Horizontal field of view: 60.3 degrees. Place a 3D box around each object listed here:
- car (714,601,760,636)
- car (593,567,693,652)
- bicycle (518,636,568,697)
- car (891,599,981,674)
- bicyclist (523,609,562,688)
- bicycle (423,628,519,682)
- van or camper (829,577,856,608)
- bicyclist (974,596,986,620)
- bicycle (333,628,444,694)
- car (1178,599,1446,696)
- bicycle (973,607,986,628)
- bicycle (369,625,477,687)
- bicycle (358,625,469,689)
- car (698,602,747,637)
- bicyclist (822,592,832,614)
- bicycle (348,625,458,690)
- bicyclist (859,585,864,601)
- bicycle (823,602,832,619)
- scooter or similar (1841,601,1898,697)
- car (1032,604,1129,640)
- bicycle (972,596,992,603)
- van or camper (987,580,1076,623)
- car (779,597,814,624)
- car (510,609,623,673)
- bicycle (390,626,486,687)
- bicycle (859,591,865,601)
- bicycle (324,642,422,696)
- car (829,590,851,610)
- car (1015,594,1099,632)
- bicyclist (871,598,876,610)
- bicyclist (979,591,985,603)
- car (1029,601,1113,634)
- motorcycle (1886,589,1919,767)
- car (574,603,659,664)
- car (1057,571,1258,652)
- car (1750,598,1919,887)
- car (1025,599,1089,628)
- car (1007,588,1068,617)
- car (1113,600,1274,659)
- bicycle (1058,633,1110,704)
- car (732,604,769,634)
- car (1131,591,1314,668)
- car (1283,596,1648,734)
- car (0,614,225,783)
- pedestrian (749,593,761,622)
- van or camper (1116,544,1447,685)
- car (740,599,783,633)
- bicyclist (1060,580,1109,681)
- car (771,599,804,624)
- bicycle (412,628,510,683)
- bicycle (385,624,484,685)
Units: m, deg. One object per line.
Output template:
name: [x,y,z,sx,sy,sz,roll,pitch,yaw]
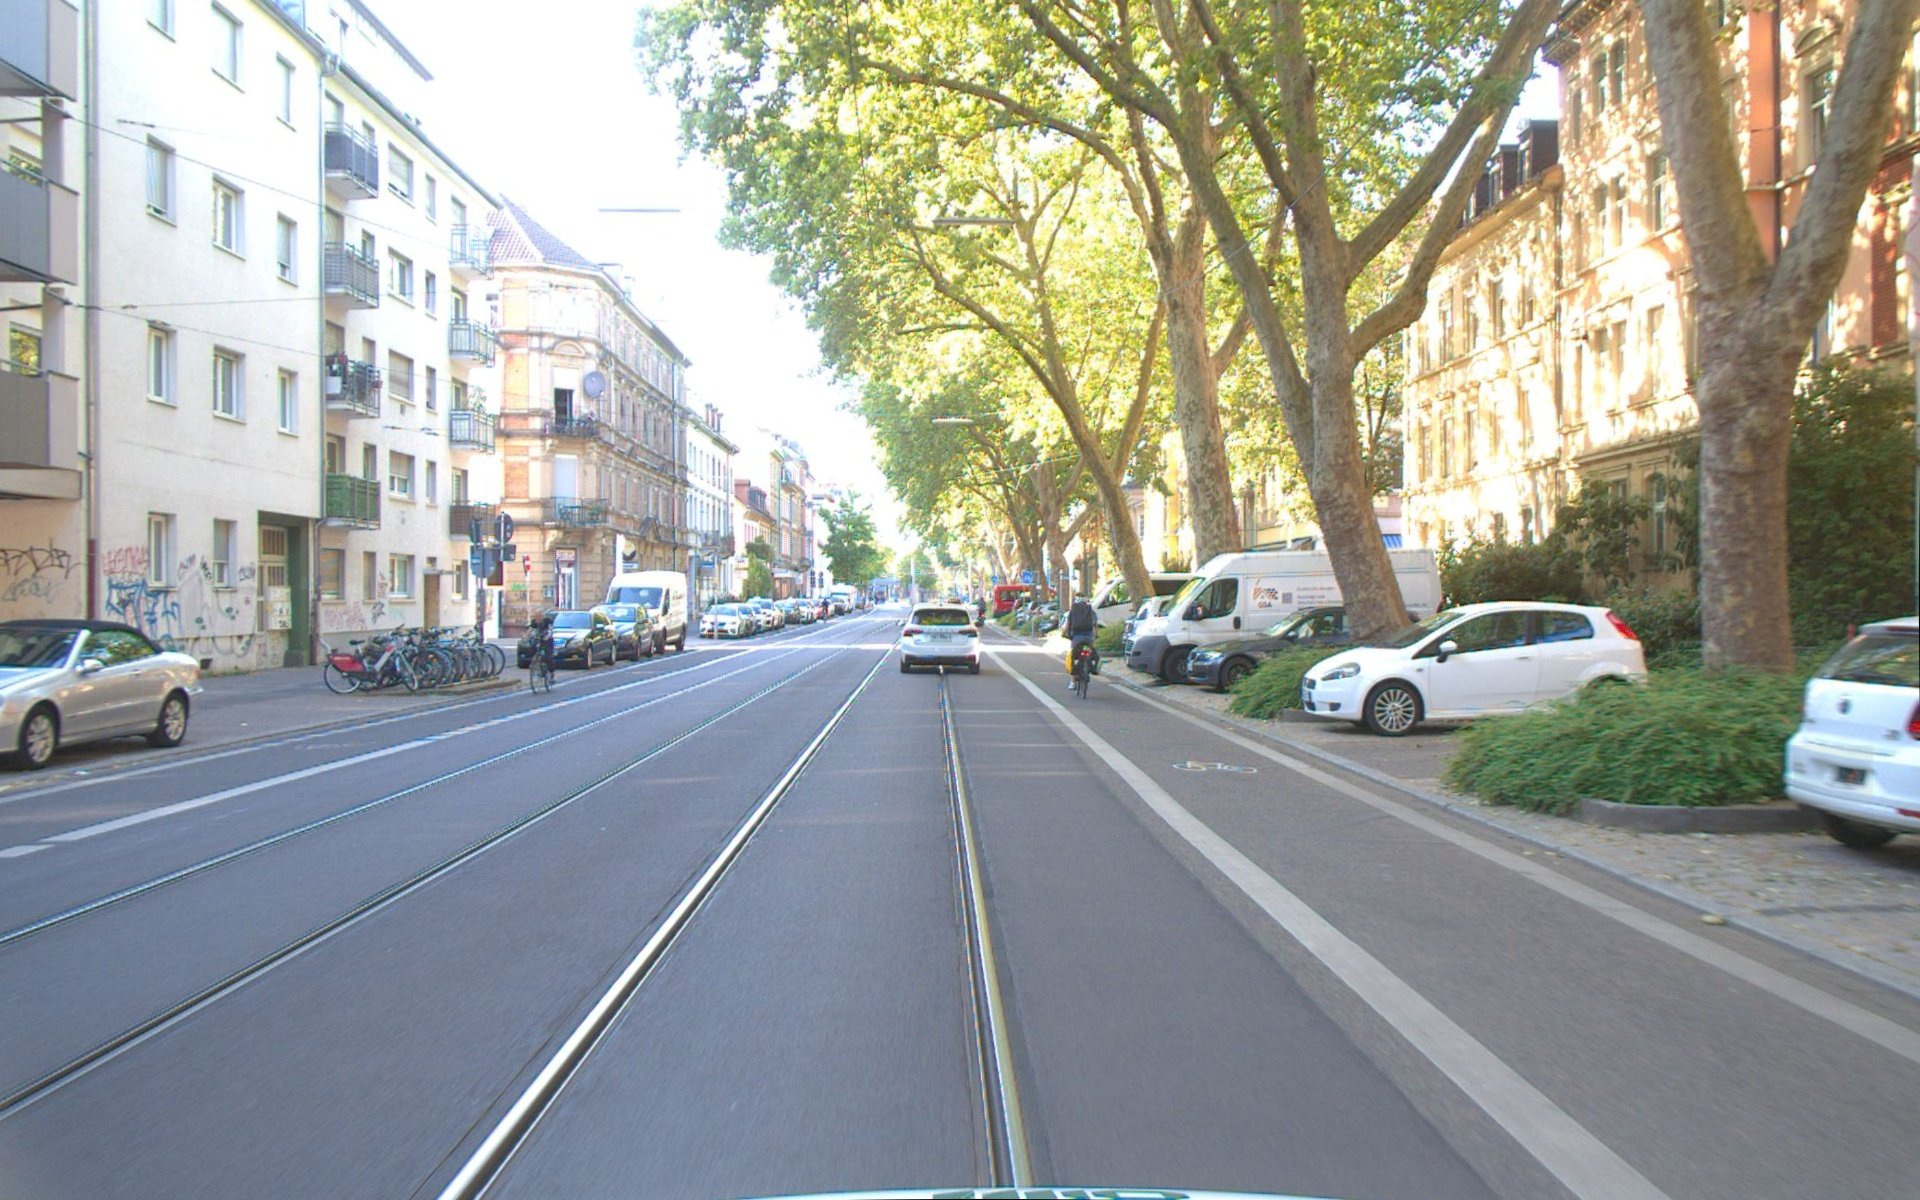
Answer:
car: [-10.650,0.866,79.309,1.705,1.589,4.784,1,0,-2]
car: [-10.128,0.303,53.294,2.022,2.580,5.667,0,0,1]
bicycle: [-7.647,1.202,30.410,0.408,1.035,1.946,-2,0,-1]
car: [-0.574,0.748,35.730,1.805,1.506,3.836,1,0,-3]
bicyclist: [-7.660,0.885,30.336,0.498,1.418,0.709,-2,0,-1]
bicycle: [-10.028,1.129,33.902,1.853,1.056,0.402,1,0,6]
van or camper: [-12.552,-0.803,176.853,2.171,3.195,7.114,1,0,1]
bicyclist: [1.134,0.451,95.685,0.665,1.362,0.525,1,0,-1]
bicycle: [-10.259,1.086,29.699,1.853,1.138,0.402,1,0,6]
car: [6.120,0.812,29.047,4.299,1.579,1.782,1,0,-2]
bicycle: [1.143,1.009,95.743,0.666,1.175,2.964,1,0,-1]
bicycle: [-10.174,1.055,31.358,1.926,1.138,0.425,1,0,6]
bicycle: [-10.198,1.054,30.870,1.919,1.138,0.440,1,0,6]
car: [-10.537,0.843,73.626,1.705,1.518,4.043,1,0,-2]
bicyclist: [-9.033,0.211,112.401,0.571,1.508,0.807,-1,0,-1]
bicycle: [-10.212,1.053,30.331,1.890,1.138,0.440,1,0,6]
bicyclist: [-10.364,-0.706,174.812,0.463,1.664,0.800,-1,0,0]
bicycle: [-9.006,0.702,112.427,0.412,1.170,2.231,-1,0,-2]
scooter or similar: [12.116,0.636,22.050,0.269,1.245,1.123,0,0,8]
car: [5.245,0.952,72.159,4.014,1.517,1.830,0,0,-3]
bicycle: [3.028,-0.074,229.254,2.711,1.017,0.593,1,0,14]
van or camper: [4.748,0.076,110.607,5.699,2.563,2.286,-2,1,-3]
car: [-10.833,0.668,109.875,1.818,1.733,4.763,-1,0,0]
car: [-9.825,0.996,41.620,1.683,1.482,4.572,0,0,1]
bicycle: [-10.195,1.099,32.328,1.751,1.138,0.425,1,0,6]
bicycle: [-10.357,-0.417,174.585,0.471,1.105,1.846,-1,0,0]
bicycle: [-10.315,1.213,29.109,1.592,0.933,0.400,1,0,-18]
car: [-11.442,0.028,158.145,1.925,1.812,4.935,2,0,-2]
car: [5.098,0.677,86.965,4.178,1.749,1.848,-3,0,-3]
bicyclist: [-11.618,0.535,222.453,0.625,1.529,1.070,-1,0,0]
bicyclist: [3.045,-0.390,229.280,0.721,1.617,0.587,-1,0,12]
car: [5.439,0.828,81.084,3.947,1.506,1.680,-1,0,-3]
motorcycle: [8.523,0.654,13.020,0.823,1.505,2.818,-1,0,-1]
car: [-9.846,0.933,47.615,1.684,1.660,4.345,0,0,-2]
car: [5.916,0.328,50.173,5.868,2.322,2.006,-1,1,0]
car: [6.792,0.746,9.696,3.536,1.521,1.659,0,0,-3]
car: [5.480,0.773,93.917,3.522,1.627,1.540,-1,-1,-1]
car: [4.960,0.158,106.130,3.743,1.678,1.766,-2,-1,-4]
car: [6.148,0.758,43.793,3.973,1.485,1.795,-1,0,-3]
bicycle: [1.993,1.081,26.855,0.583,1.022,2.511,2,0,-1]
car: [-10.646,0.947,84.218,1.666,1.445,3.996,1,0,-5]
car: [6.065,0.678,38.471,3.876,1.684,1.794,-1,-1,-4]
car: [5.994,0.754,19.923,3.872,1.506,1.688,-1,0,0]
car: [-9.686,0.934,17.581,1.655,1.517,4.728,0,0,0]
pedestrian: [-14.708,0.537,118.546,0.744,2.049,0.829,0,0,-3]
van or camper: [6.075,0.266,31.771,5.911,2.534,2.106,-1,0,-2]
car: [-10.722,0.849,89.514,1.750,1.753,4.717,1,0,-1]
bicyclist: [2.027,0.490,26.949,0.602,1.579,0.935,4,0,-1]
car: [-10.929,0.715,104.953,1.522,1.542,3.925,-1,0,2]
bicycle: [-10.041,1.104,33.290,1.853,1.056,0.402,1,0,6]
bicycle: [-10.181,1.056,32.044,1.780,1.138,0.425,1,0,6]
